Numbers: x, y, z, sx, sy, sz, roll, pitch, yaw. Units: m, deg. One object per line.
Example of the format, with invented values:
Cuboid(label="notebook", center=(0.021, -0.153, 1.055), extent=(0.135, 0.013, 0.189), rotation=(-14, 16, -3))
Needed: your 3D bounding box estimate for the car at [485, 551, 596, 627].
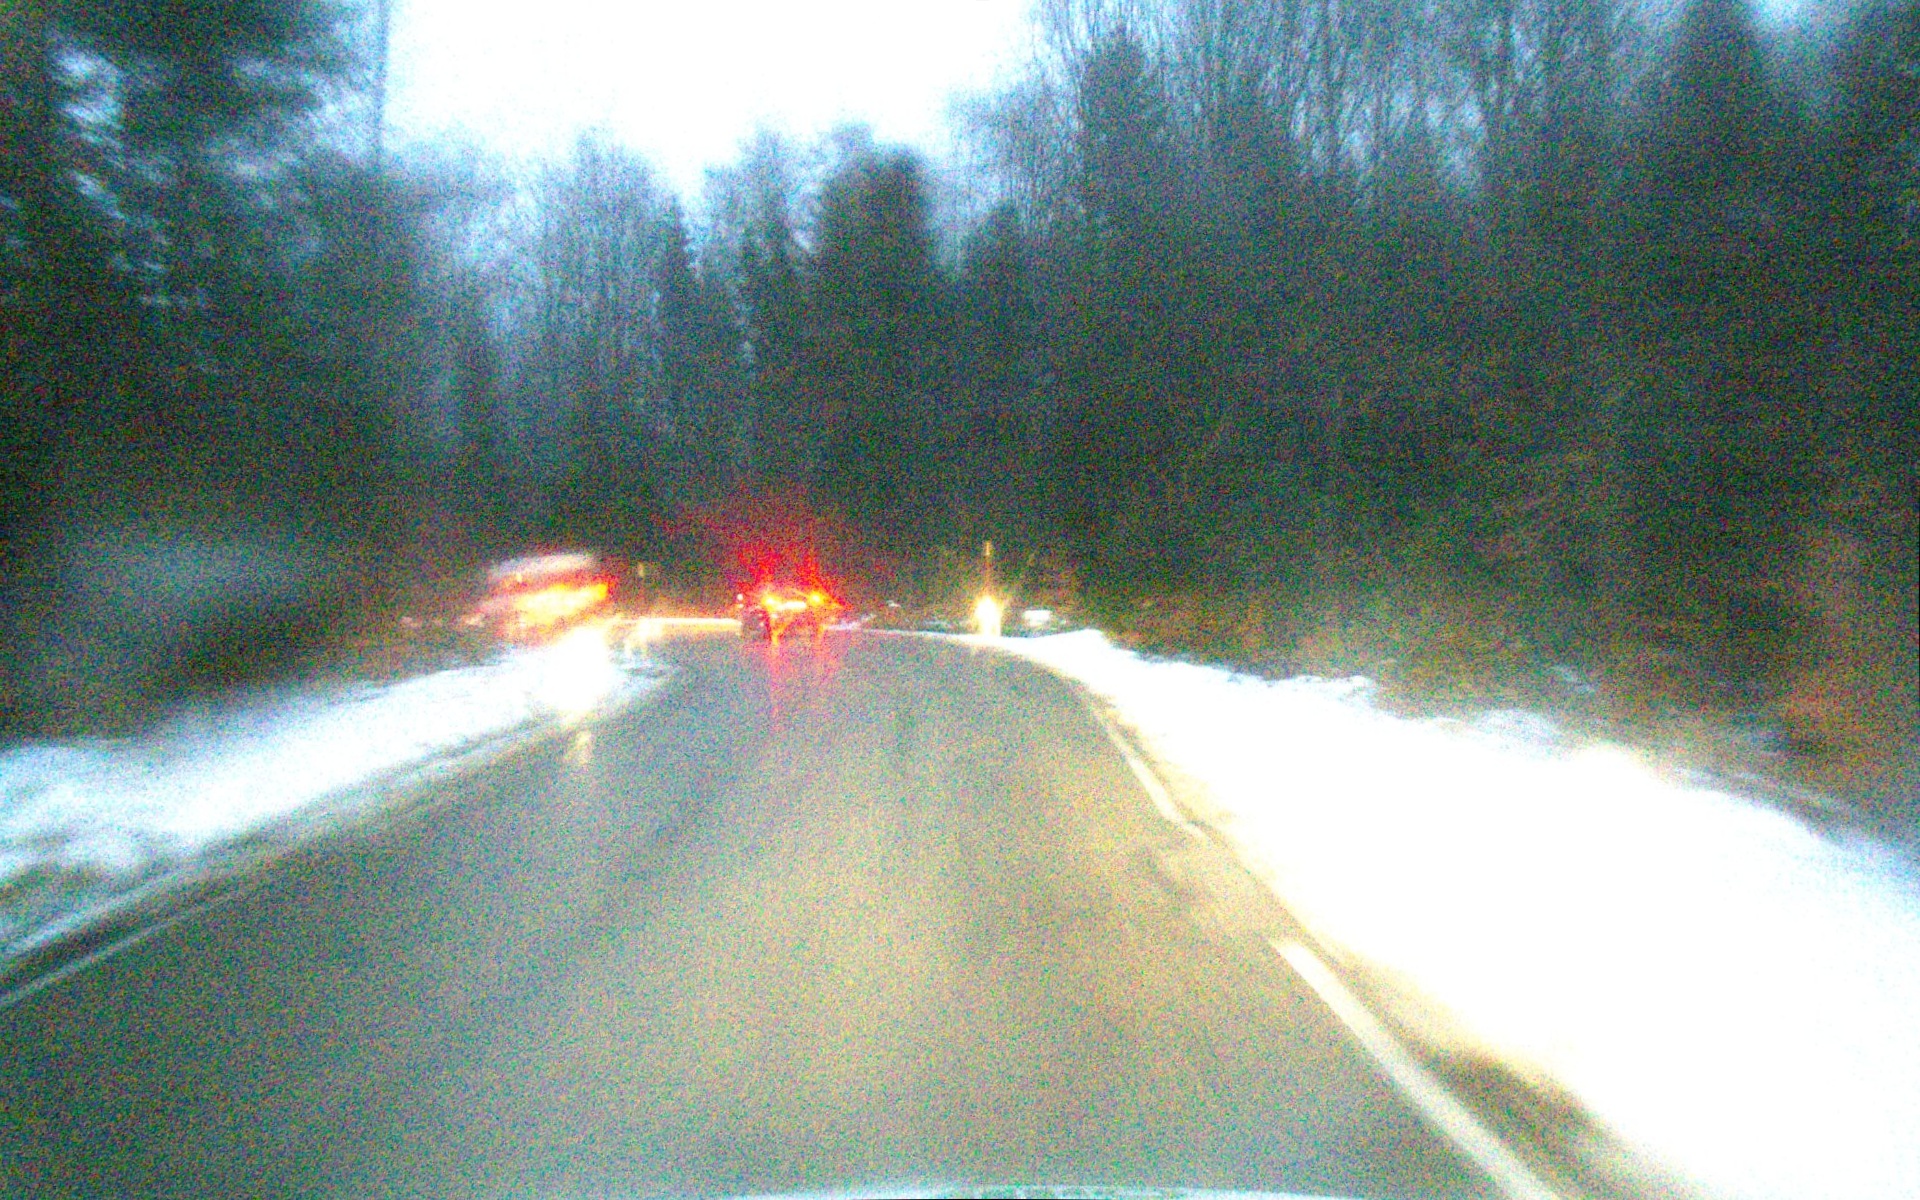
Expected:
Cuboid(label="car", center=(-16.020, -0.406, 62.947), extent=(2.237, 2.691, 4.937), rotation=(-3, 1, -38))

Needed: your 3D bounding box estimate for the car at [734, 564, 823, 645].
Cuboid(label="car", center=(-5.089, 0.115, 46.022), extent=(1.959, 2.087, 3.986), rotation=(-2, 0, -13))
